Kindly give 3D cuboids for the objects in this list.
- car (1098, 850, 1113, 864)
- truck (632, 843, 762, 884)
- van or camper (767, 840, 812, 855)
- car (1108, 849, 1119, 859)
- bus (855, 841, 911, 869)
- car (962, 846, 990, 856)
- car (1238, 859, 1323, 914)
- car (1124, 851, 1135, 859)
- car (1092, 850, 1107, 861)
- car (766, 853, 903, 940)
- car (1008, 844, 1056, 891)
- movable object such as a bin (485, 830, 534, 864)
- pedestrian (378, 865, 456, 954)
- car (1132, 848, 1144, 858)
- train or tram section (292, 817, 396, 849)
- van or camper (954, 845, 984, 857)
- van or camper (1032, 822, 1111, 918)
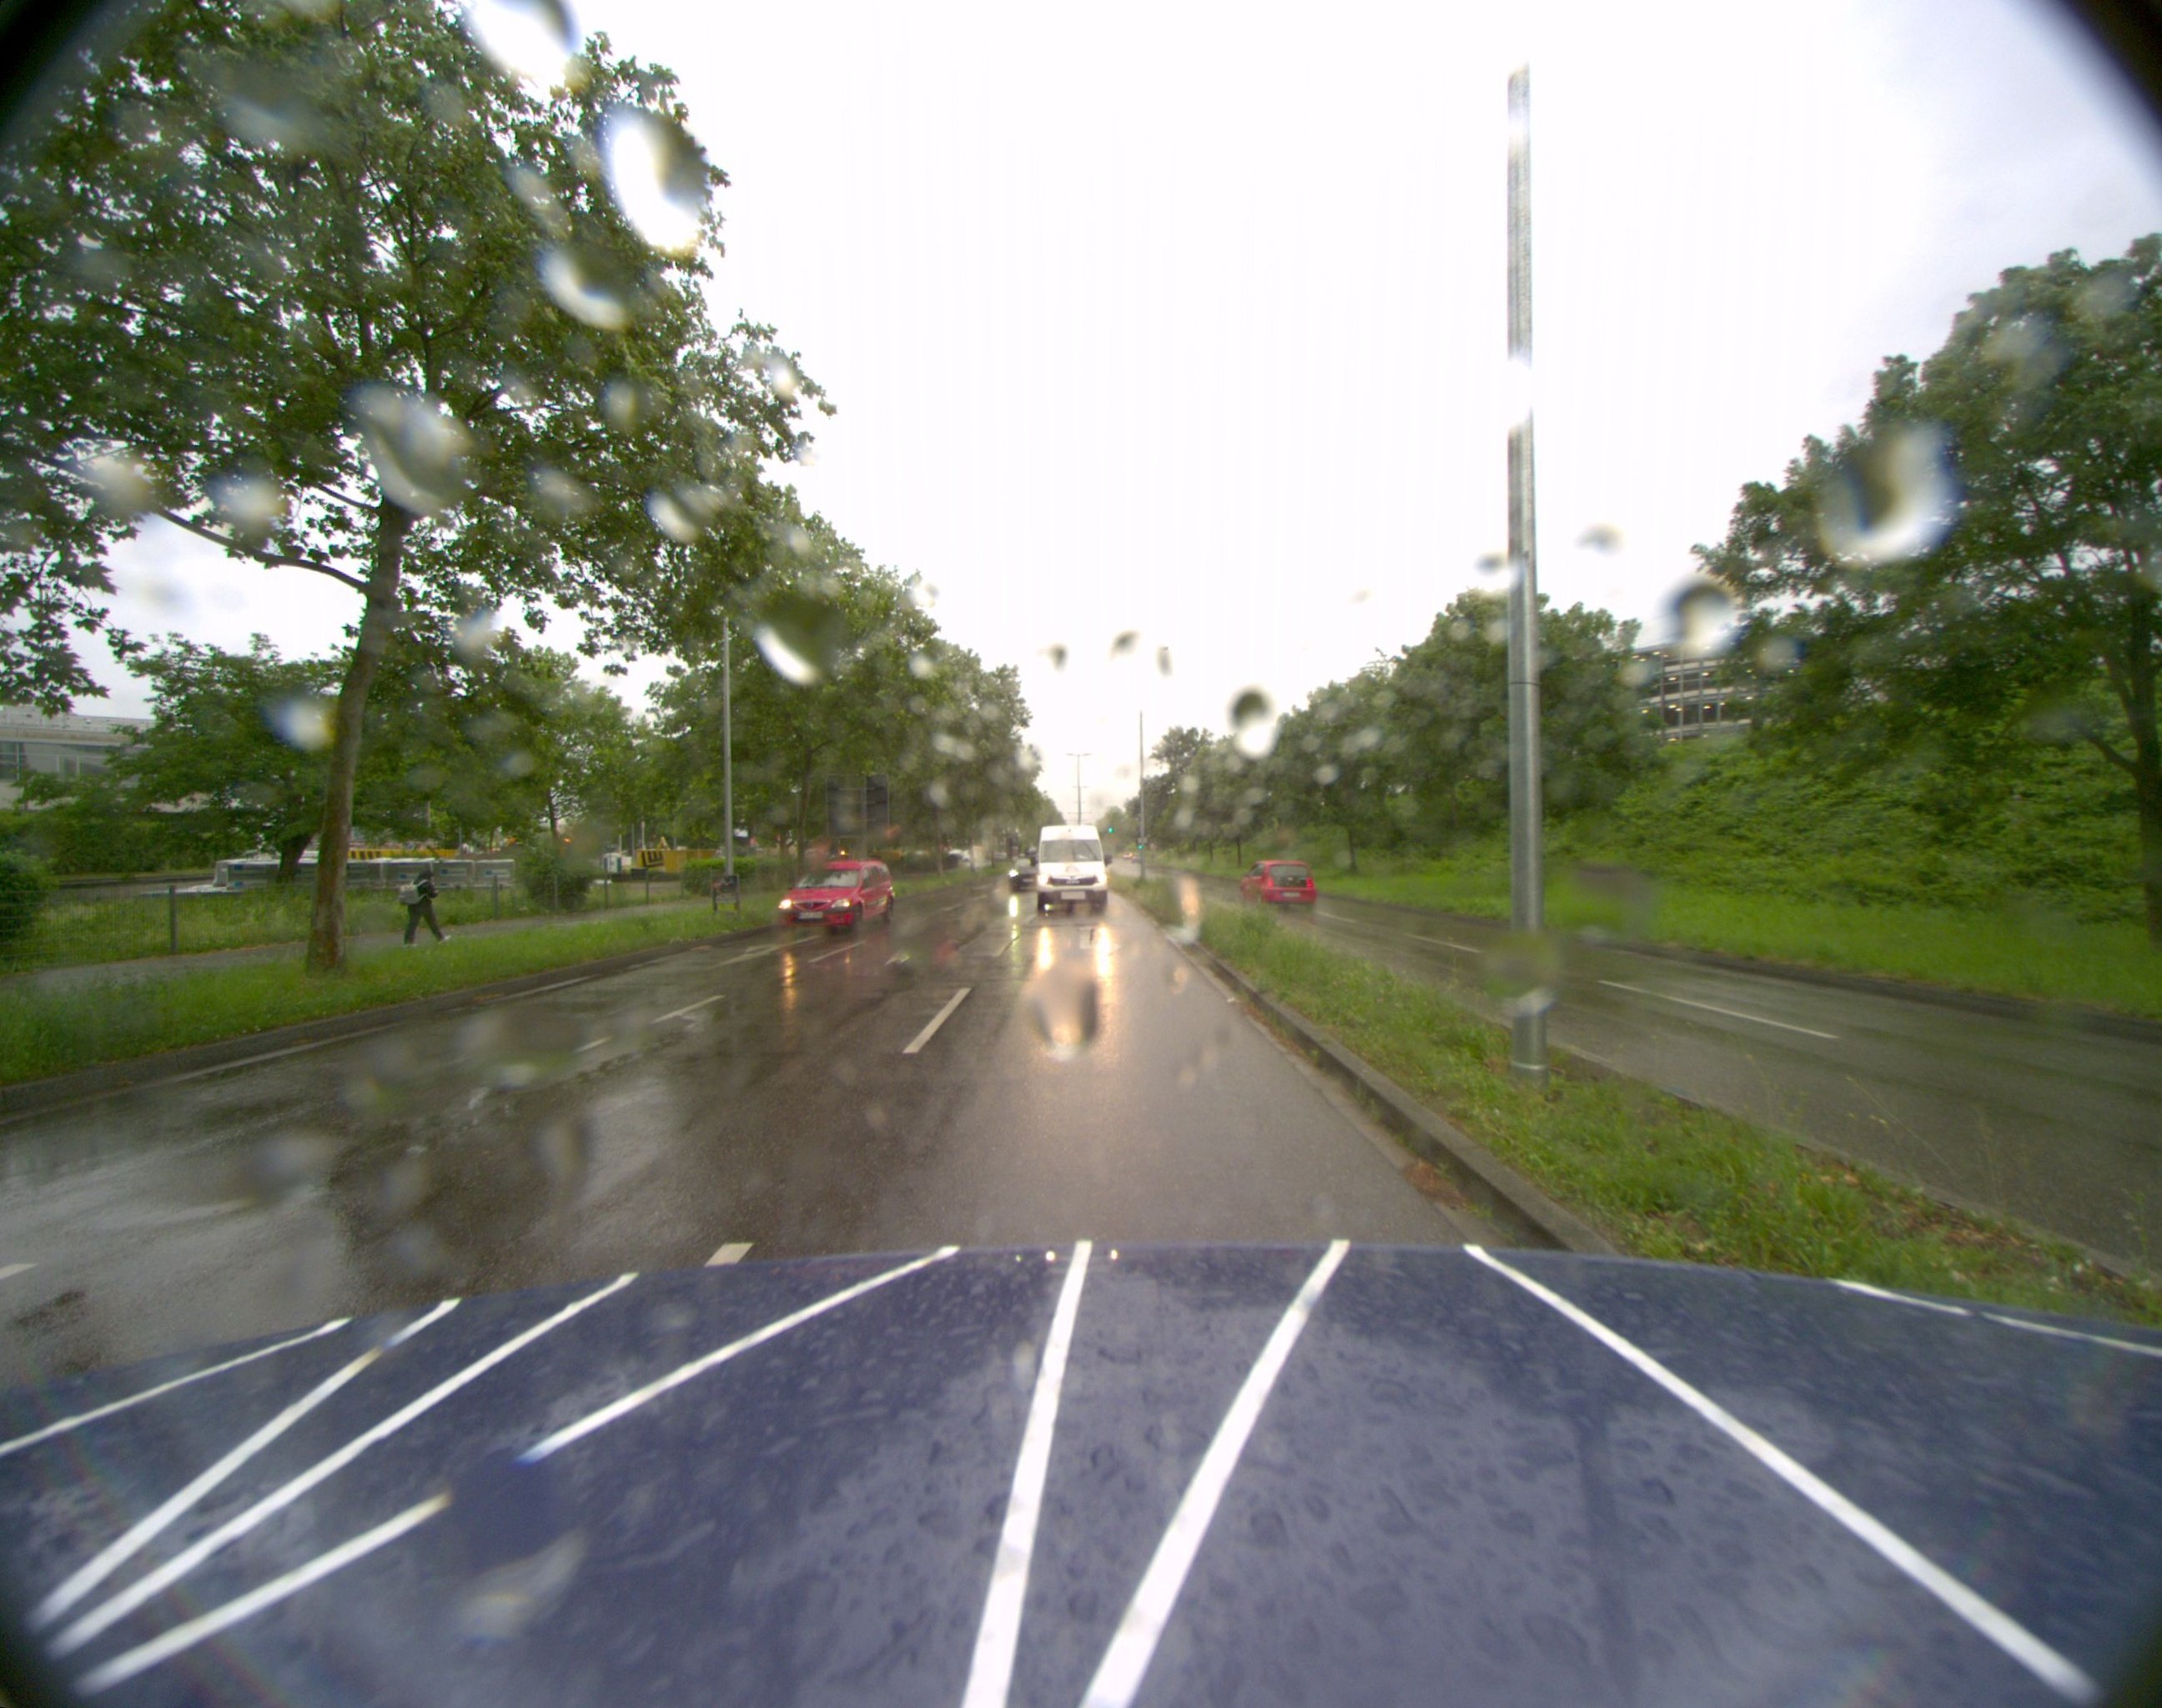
[{"bbox_3d":[3.039,0.378,93.896,1.828,1.566,4.359,1,2,2],"label":"car"},{"bbox_3d":[-33.004,0.703,65.605,9.517,3.015,3.073,-3,3,-35],"label":"truck"},{"bbox_3d":[-65.555,-1.545,170.929,8.994,3.140,2.979,-3,3,-35],"label":"van or camper"},{"bbox_3d":[6.126,-0.017,143.840,1.724,1.609,4.346,1,2,7],"label":"car"},{"bbox_3d":[-19.405,0.119,74.575,4.804,2.632,2.000,-1,1,1],"label":"bus"},{"bbox_3d":[-17.985,-0.459,130.463,4.470,1.663,1.863,-1,1,-38],"label":"car"},{"bbox_3d":[6.003,0.923,23.261,1.720,1.504,3.614,1,0,1],"label":"car"},{"bbox_3d":[9.444,0.101,147.839,1.840,1.493,4.439,1,0,1],"label":"car"},{"bbox_3d":[2.821,0.201,117.864,1.914,1.565,4.707,1,1,-3],"label":"car"},{"bbox_3d":[-5.703,0.885,18.233,1.699,1.759,4.557,-1,1,1],"label":"car"},{"bbox_3d":[-2.351,0.601,37.539,1.935,2.120,4.557,-2,1,1],"label":"car"},{"bbox_3d":[-63.664,-0.784,84.646,3.602,3.605,3.326,0,2,35],"label":"movable object such as a bin"},{"bbox_3d":[-13.807,1.131,15.829,0.666,1.752,1.075,-1,1,-5],"label":"pedestrian"},{"bbox_3d":[9.035,-0.160,121.205,1.700,1.608,3.847,-1,1,1],"label":"car"},{"bbox_3d":[-86.459,-2.549,89.401,8.385,3.500,2.393,-3,3,-38],"label":"train or tram section"},{"bbox_3d":[-19.678,-0.517,133.598,4.918,2.076,1.863,-1,1,-38],"label":"van or camper"},{"bbox_3d":[-0.216,0.414,23.329,2.100,2.580,4.775,-2,1,1],"label":"van or camper"}]
